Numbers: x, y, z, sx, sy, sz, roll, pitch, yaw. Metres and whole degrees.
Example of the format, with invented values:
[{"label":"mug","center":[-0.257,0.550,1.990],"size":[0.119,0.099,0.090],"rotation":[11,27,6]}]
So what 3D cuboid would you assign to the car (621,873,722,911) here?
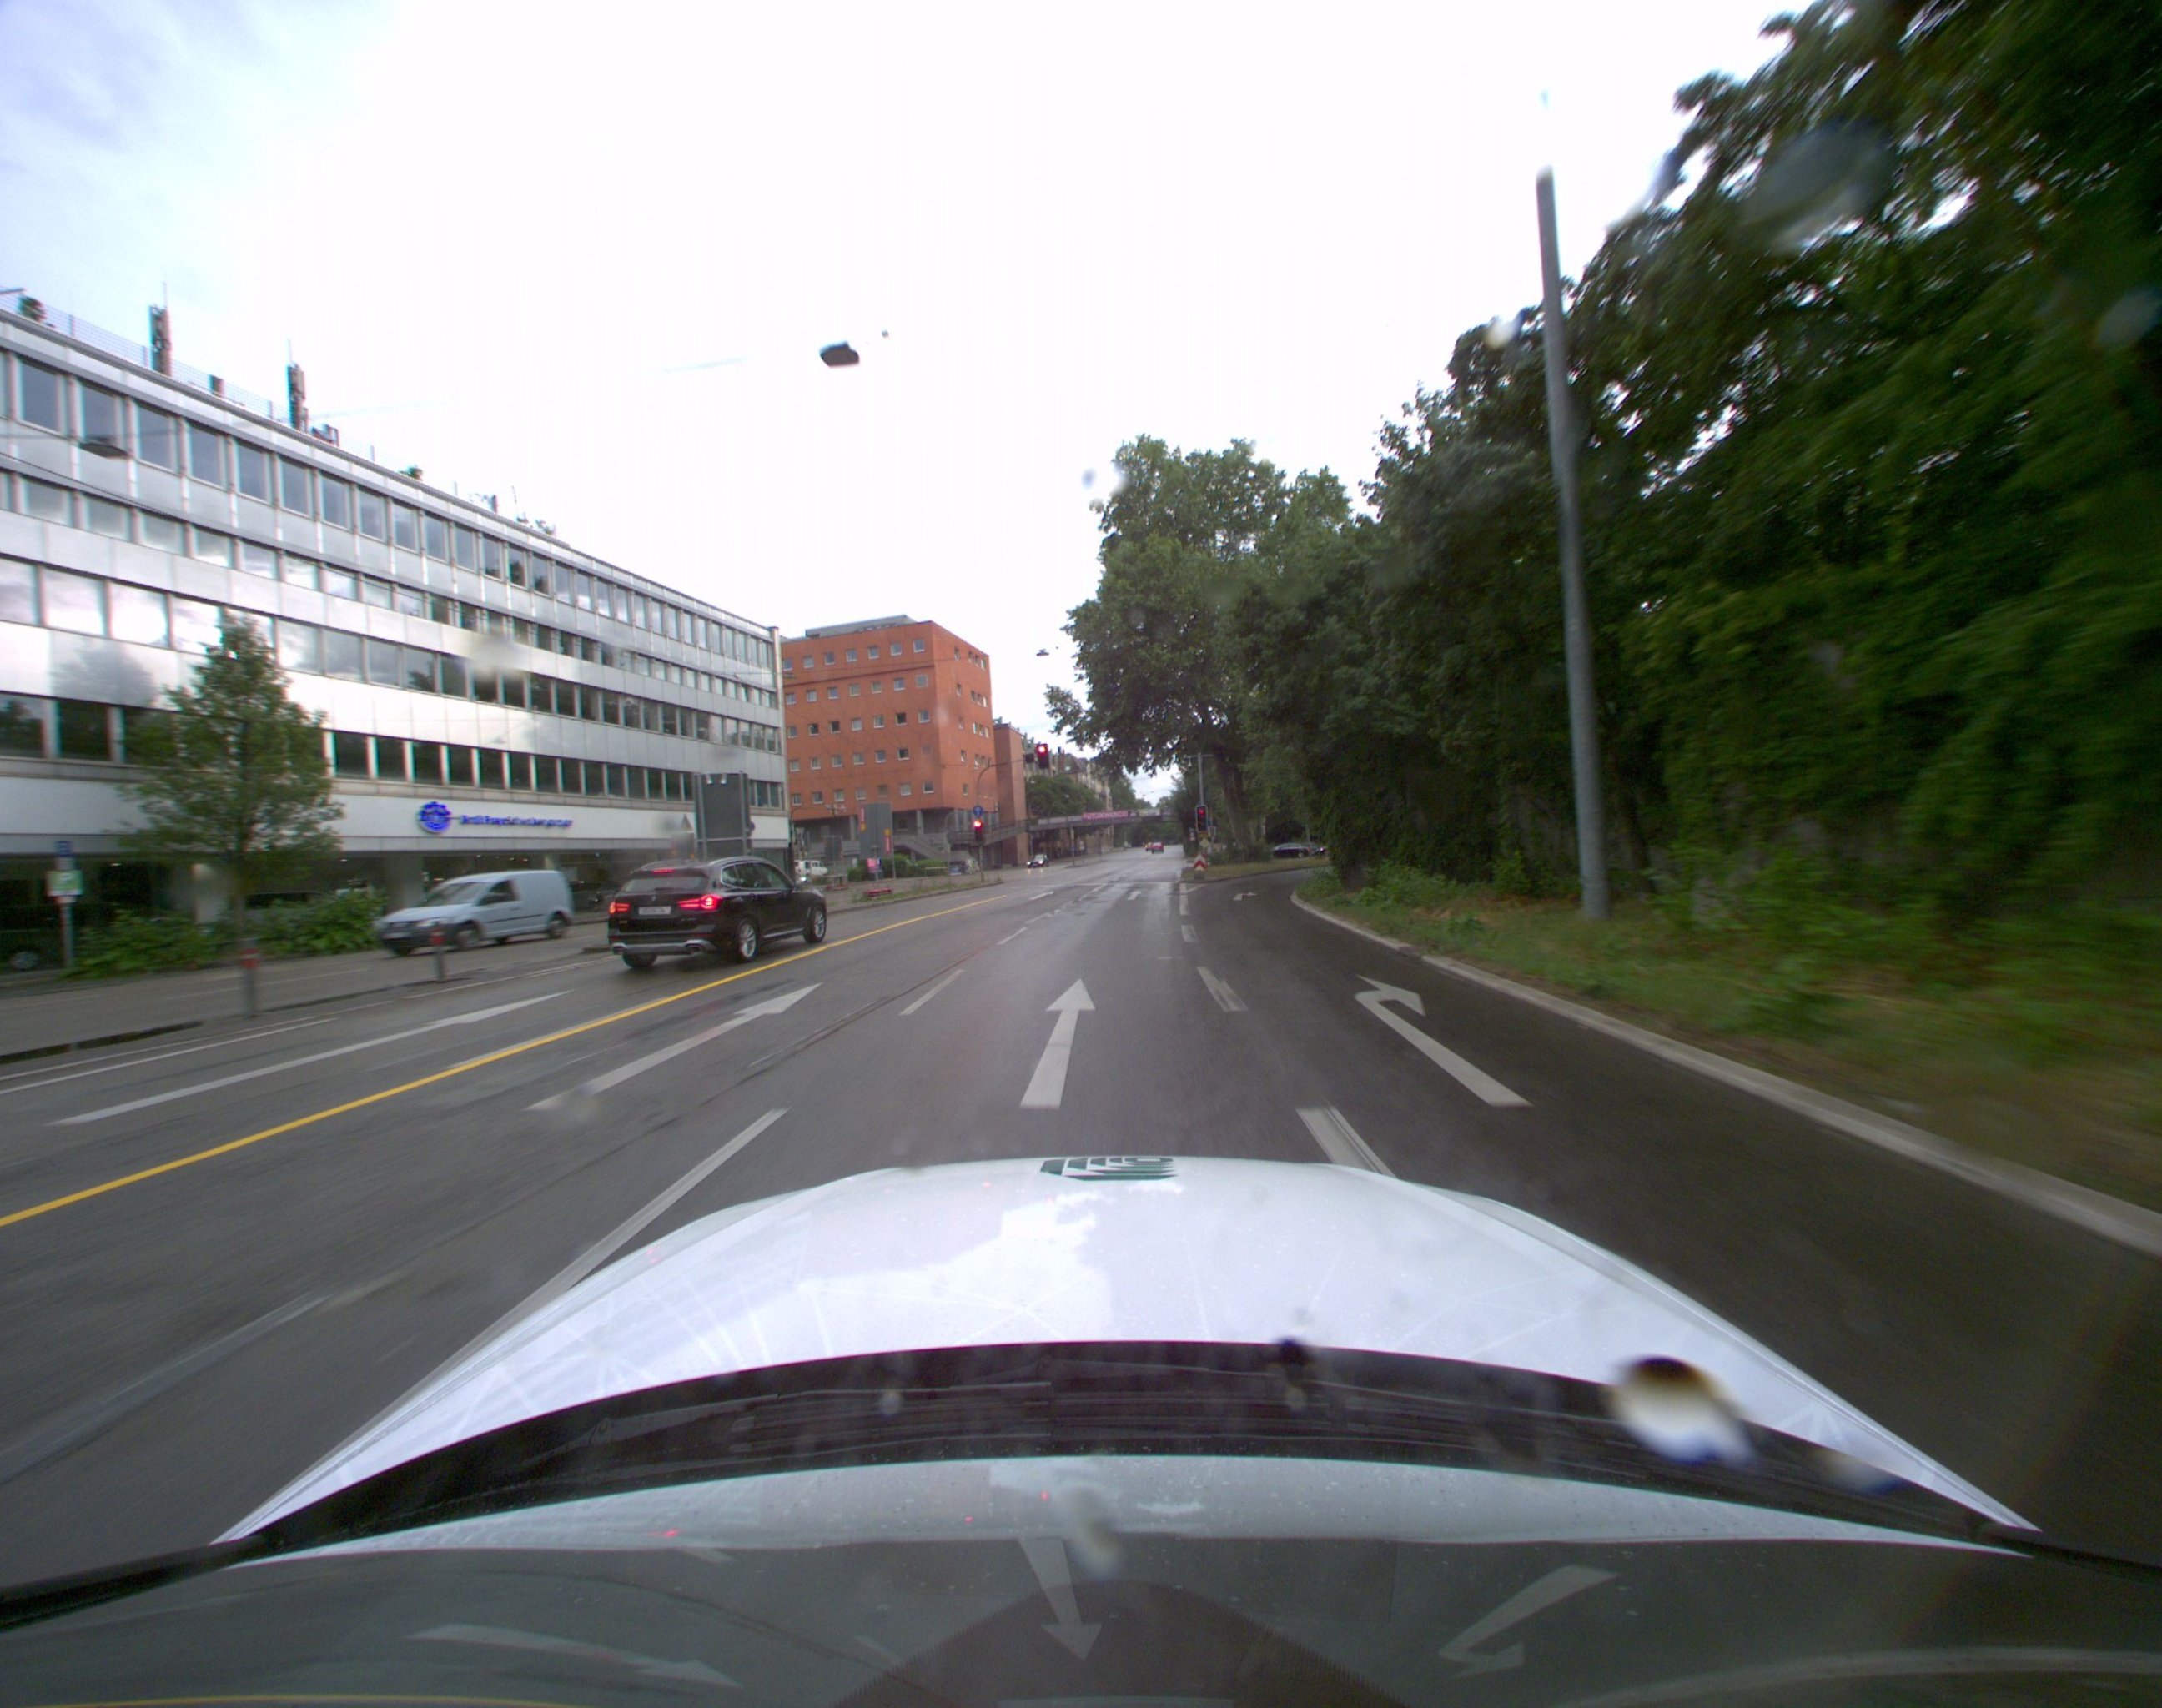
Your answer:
[{"label":"car","center":[-23.985,2.223,47.811],"size":[4.748,1.738,1.997],"rotation":[-5,0,-4]}]

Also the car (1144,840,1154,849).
[{"label":"car","center":[13.835,-1.880,166.361],"size":[1.754,1.697,3.712],"rotation":[-5,0,6]}]

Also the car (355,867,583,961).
[{"label":"car","center":[-14.413,1.328,19.547],"size":[1.724,1.786,4.310],"rotation":[-5,0,7]}]

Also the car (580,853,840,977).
[{"label":"car","center":[-5.906,0.862,13.761],"size":[1.939,1.597,4.675],"rotation":[-2,1,4]}]

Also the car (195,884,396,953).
[{"label":"car","center":[-28.662,2.305,29.996],"size":[5.013,1.897,1.977],"rotation":[-5,-1,-37]}]

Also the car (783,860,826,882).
[{"label":"car","center":[-26.870,1.602,79.313],"size":[1.982,2.013,4.863],"rotation":[1,0,9]}]

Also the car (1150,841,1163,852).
[{"label":"car","center":[12.923,-1.230,139.432],"size":[2.111,1.734,4.203],"rotation":[-2,1,4]}]

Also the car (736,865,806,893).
[{"label":"car","center":[-25.535,2.042,67.095],"size":[5.039,1.846,2.008],"rotation":[-6,-1,14]}]

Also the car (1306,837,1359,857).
[{"label":"car","center":[21.818,-0.620,70.653],"size":[3.993,1.486,1.870],"rotation":[-3,0,-14]}]

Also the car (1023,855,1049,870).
[{"label":"car","center":[-4.770,0.900,87.127],"size":[1.983,1.519,4.007],"rotation":[-4,0,7]}]

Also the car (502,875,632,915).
[{"label":"car","center":[-26.362,2.090,41.921],"size":[5.187,1.521,1.994],"rotation":[-5,0,-9]}]

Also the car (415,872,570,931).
[{"label":"car","center":[-25.851,2.055,36.081],"size":[5.220,2.011,1.981],"rotation":[-5,-1,-29]}]

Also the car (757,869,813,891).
[{"label":"car","center":[-25.080,2.227,69.082],"size":[4.107,1.446,1.591],"rotation":[-5,-1,13]}]

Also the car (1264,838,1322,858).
[{"label":"car","center":[18.695,-0.524,71.859],"size":[4.590,1.451,1.773],"rotation":[-4,0,-1]}]

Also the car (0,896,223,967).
[{"label":"car","center":[-28.864,2.252,24.235],"size":[4.004,1.574,1.985],"rotation":[-5,0,-23]}]
